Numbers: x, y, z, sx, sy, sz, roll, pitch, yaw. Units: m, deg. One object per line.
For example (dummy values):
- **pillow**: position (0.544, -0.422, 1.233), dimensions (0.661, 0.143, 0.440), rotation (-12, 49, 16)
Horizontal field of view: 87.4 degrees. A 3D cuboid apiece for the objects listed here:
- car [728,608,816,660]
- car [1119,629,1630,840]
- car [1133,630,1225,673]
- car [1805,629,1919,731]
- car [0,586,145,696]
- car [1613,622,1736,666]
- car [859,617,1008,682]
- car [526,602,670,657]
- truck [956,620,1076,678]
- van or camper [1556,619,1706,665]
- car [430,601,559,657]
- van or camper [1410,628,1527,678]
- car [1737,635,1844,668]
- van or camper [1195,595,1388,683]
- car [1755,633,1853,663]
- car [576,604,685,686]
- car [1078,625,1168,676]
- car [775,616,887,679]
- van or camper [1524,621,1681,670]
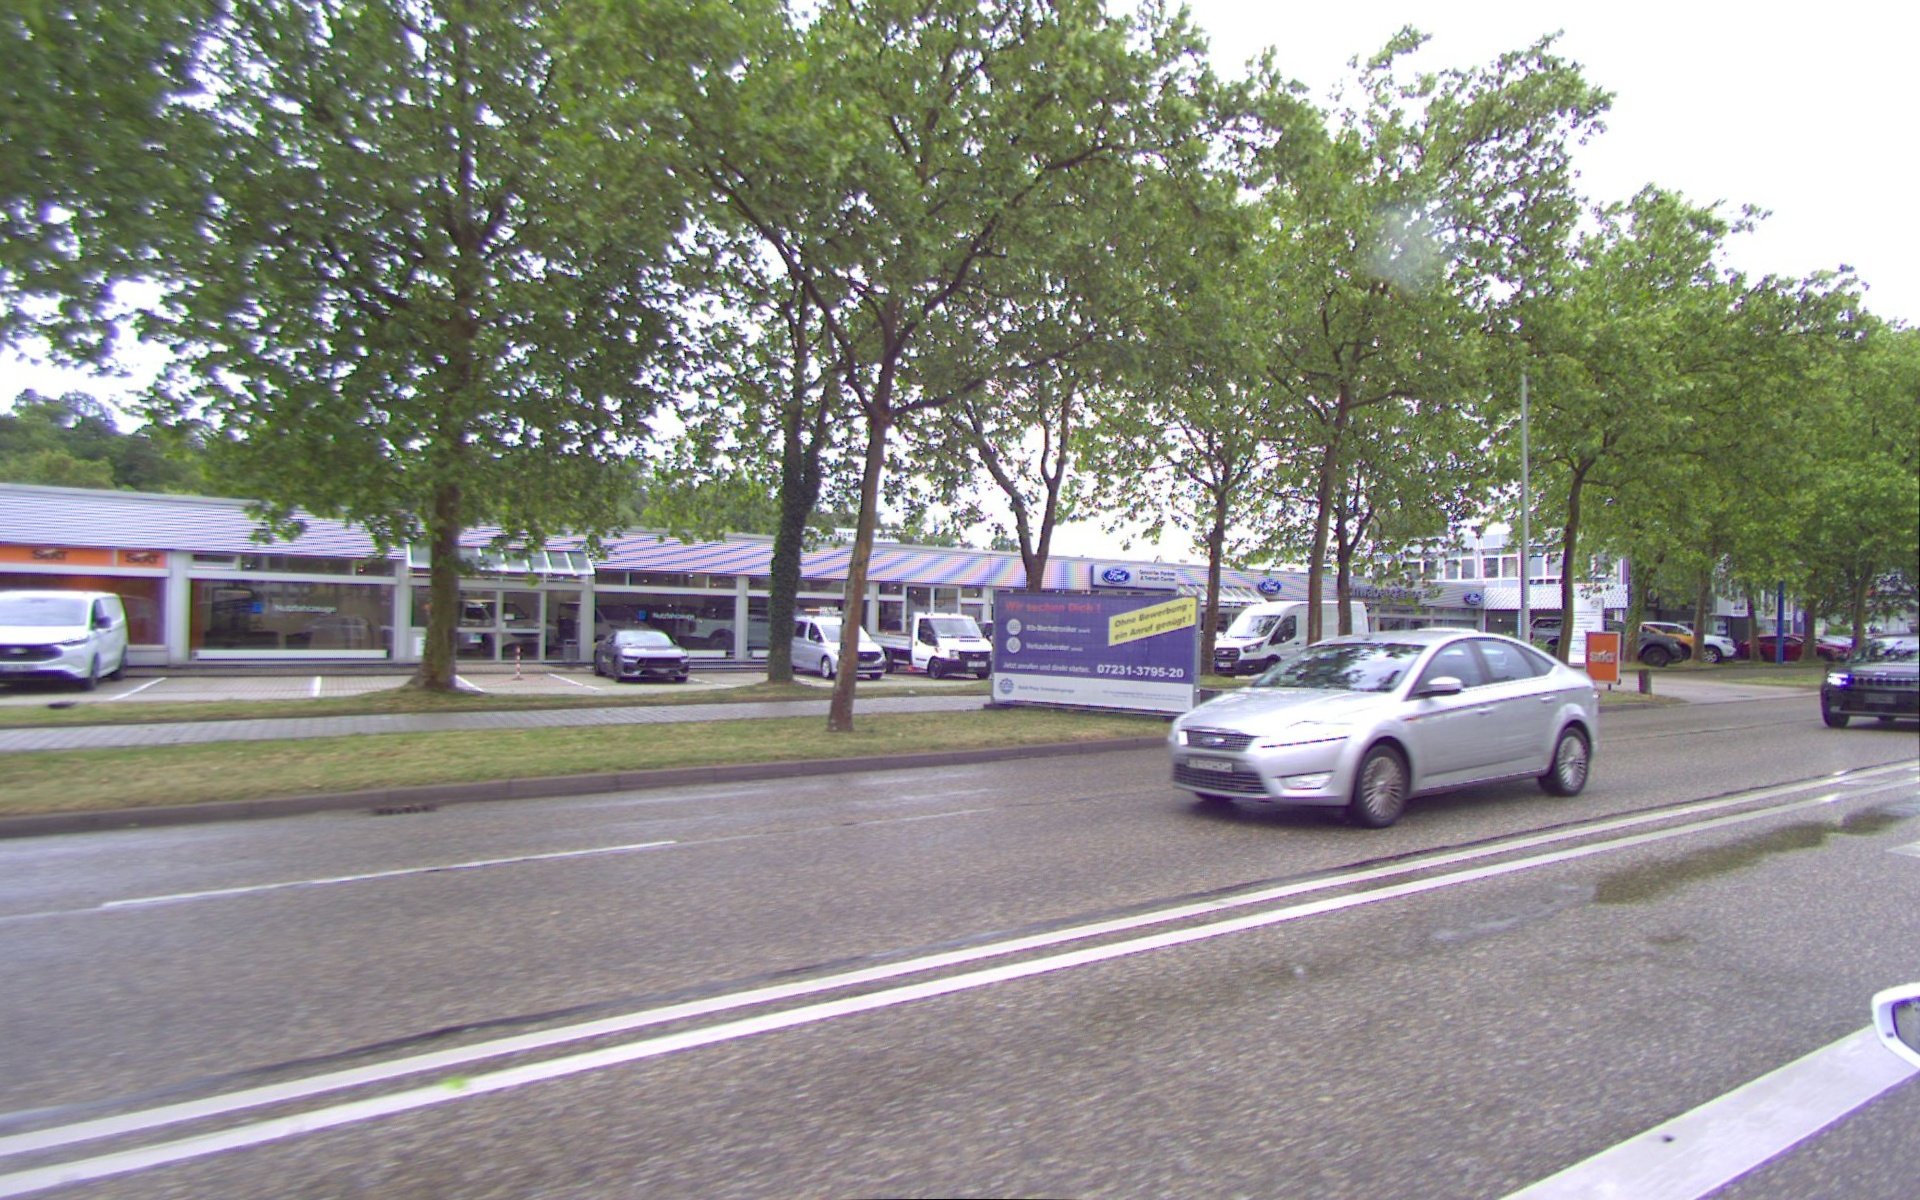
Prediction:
- **car**: position (-6.985, 1.233, 37.047), dimensions (1.844, 1.790, 3.965), rotation (1, -2, -32)
- **car**: position (3.826, 1.011, 9.023), dimensions (4.635, 1.448, 1.982), rotation (2, -2, -33)
- **car**: position (8.361, 1.945, 38.733), dimensions (1.834, 1.540, 3.987), rotation (1, -1, -16)
- **car**: position (15.966, 1.290, 16.701), dimensions (3.813, 1.551, 1.754), rotation (2, -3, -31)
- **car**: position (-18.873, 0.810, 21.050), dimensions (2.106, 2.040, 5.018), rotation (1, -2, -32)
- **car**: position (31.883, 1.914, 44.889), dimensions (4.397, 1.840, 1.993), rotation (-1, -2, 37)
- **car**: position (-0.980, 1.530, 32.588), dimensions (2.391, 1.928, 5.343), rotation (1, -2, -33)
- **car**: position (-13.708, 1.074, 37.938), dimensions (5.257, 1.862, 2.385), rotation (1, -1, 32)
- **truck**: position (1.862, 1.629, 34.557), dimensions (1.984, 1.862, 3.954), rotation (2, -2, -40)
- **van or camper**: position (29.045, 1.796, 43.570), dimensions (5.290, 1.792, 2.098), rotation (-1, -5, 37)
- **car**: position (-16.560, 1.000, 35.785), dimensions (3.808, 1.767, 1.913), rotation (2, 0, 17)
- **van or camper**: position (19.449, 1.984, 38.690), dimensions (1.804, 1.808, 4.644), rotation (1, -1, -6)
- **car**: position (46.320, 2.836, 56.178), dimensions (4.496, 1.617, 1.992), rotation (1, -1, 37)
- **van or camper**: position (10.374, 1.187, 31.213), dimensions (6.327, 2.503, 1.984), rotation (2, 0, -31)
- **car**: position (48.870, 2.761, 58.262), dimensions (4.164, 1.674, 2.006), rotation (-2, -3, 36)
- **car**: position (-8.968, 1.178, 27.172), dimensions (1.862, 2.040, 3.965), rotation (1, -2, -32)
- **car**: position (6.032, 1.836, 37.615), dimensions (1.834, 1.790, 3.988), rotation (1, -1, -15)
- **car**: position (-3.999, 1.391, 30.634), dimensions (1.862, 1.790, 3.965), rotation (1, -2, -32)
- **van or camper**: position (25.863, 1.797, 40.587), dimensions (5.211, 1.845, 2.260), rotation (0, -2, 34)
